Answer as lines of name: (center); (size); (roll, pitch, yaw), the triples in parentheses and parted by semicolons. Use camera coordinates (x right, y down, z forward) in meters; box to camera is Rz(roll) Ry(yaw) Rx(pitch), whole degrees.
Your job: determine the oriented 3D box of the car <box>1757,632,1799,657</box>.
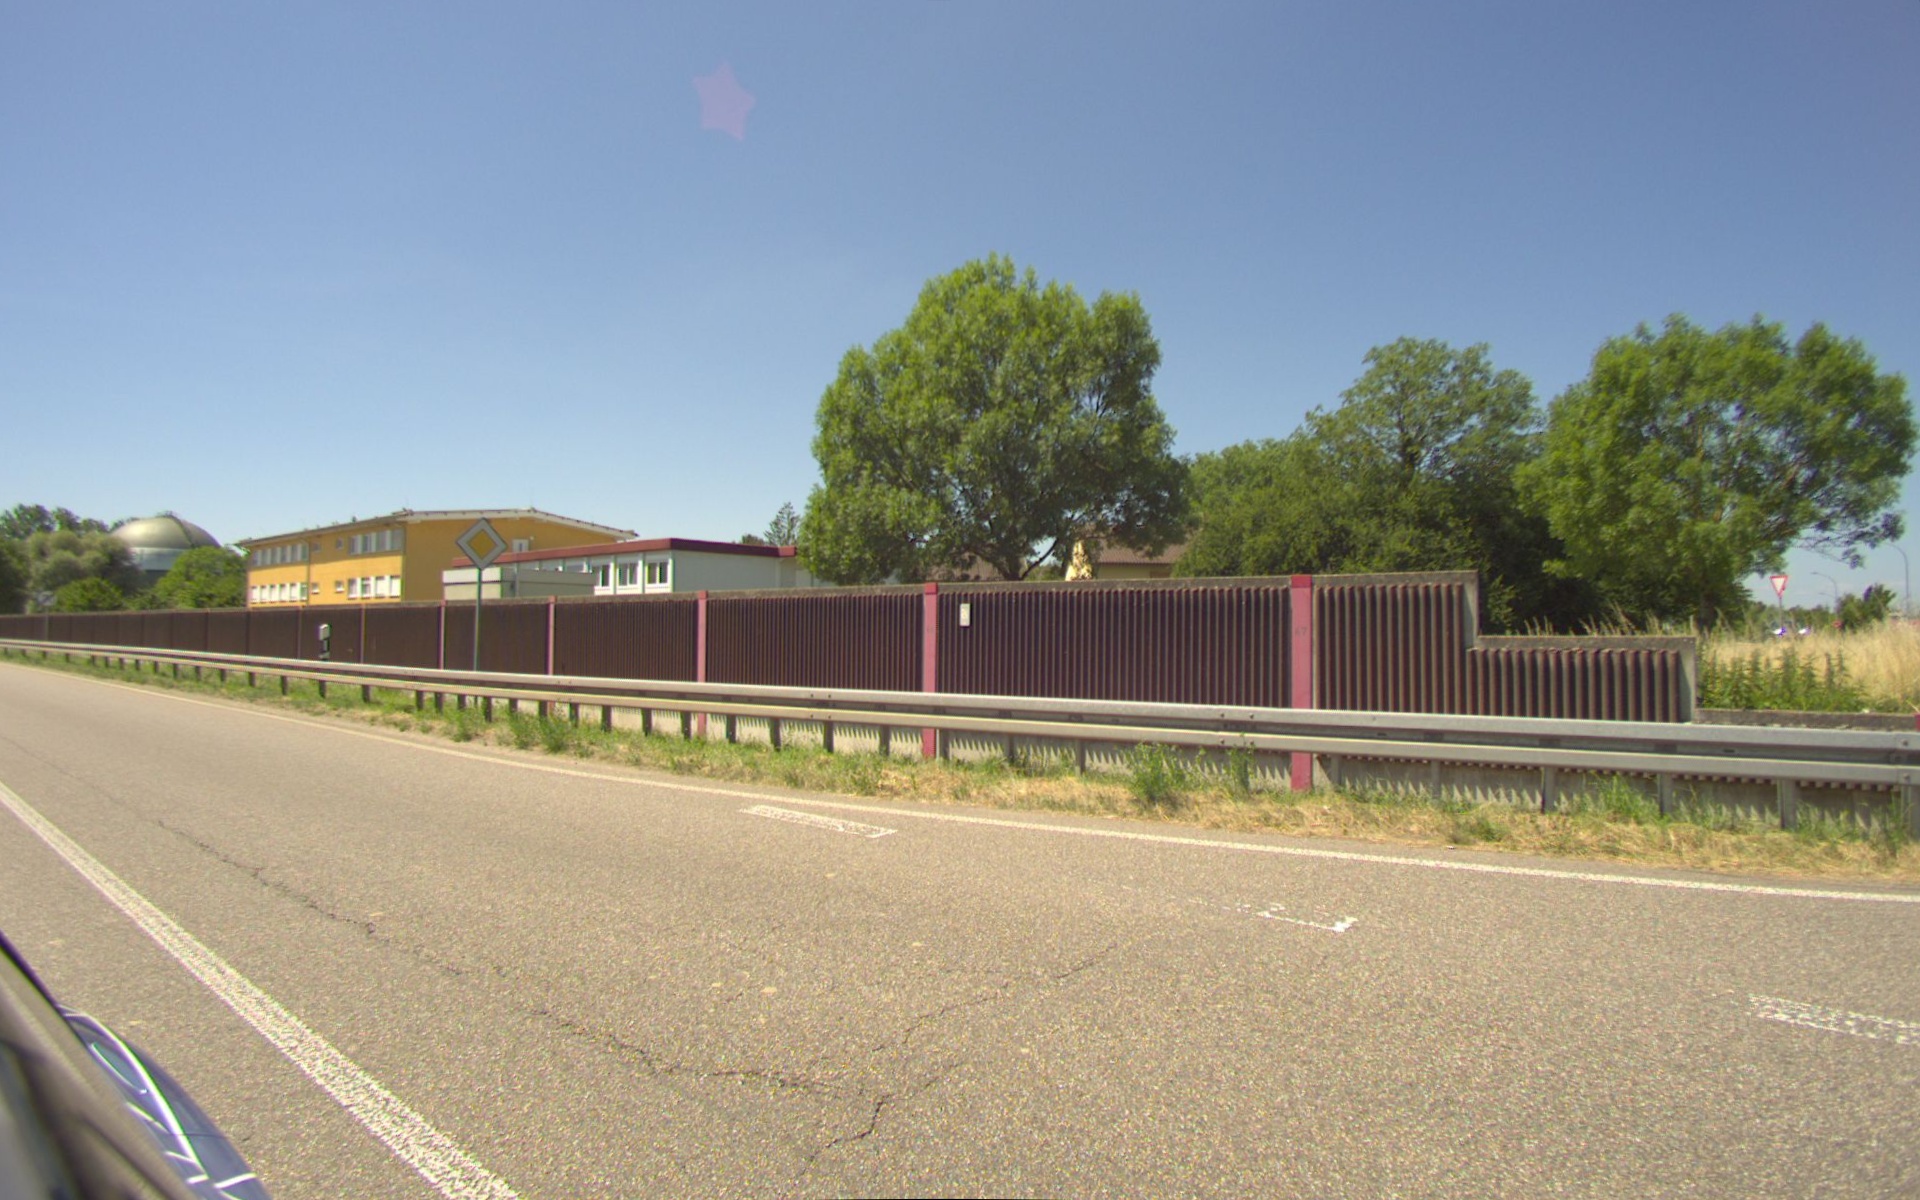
car: (56.217, 3.058, 69.613); (1.766, 1.637, 4.187); (-2, -2, 33)
